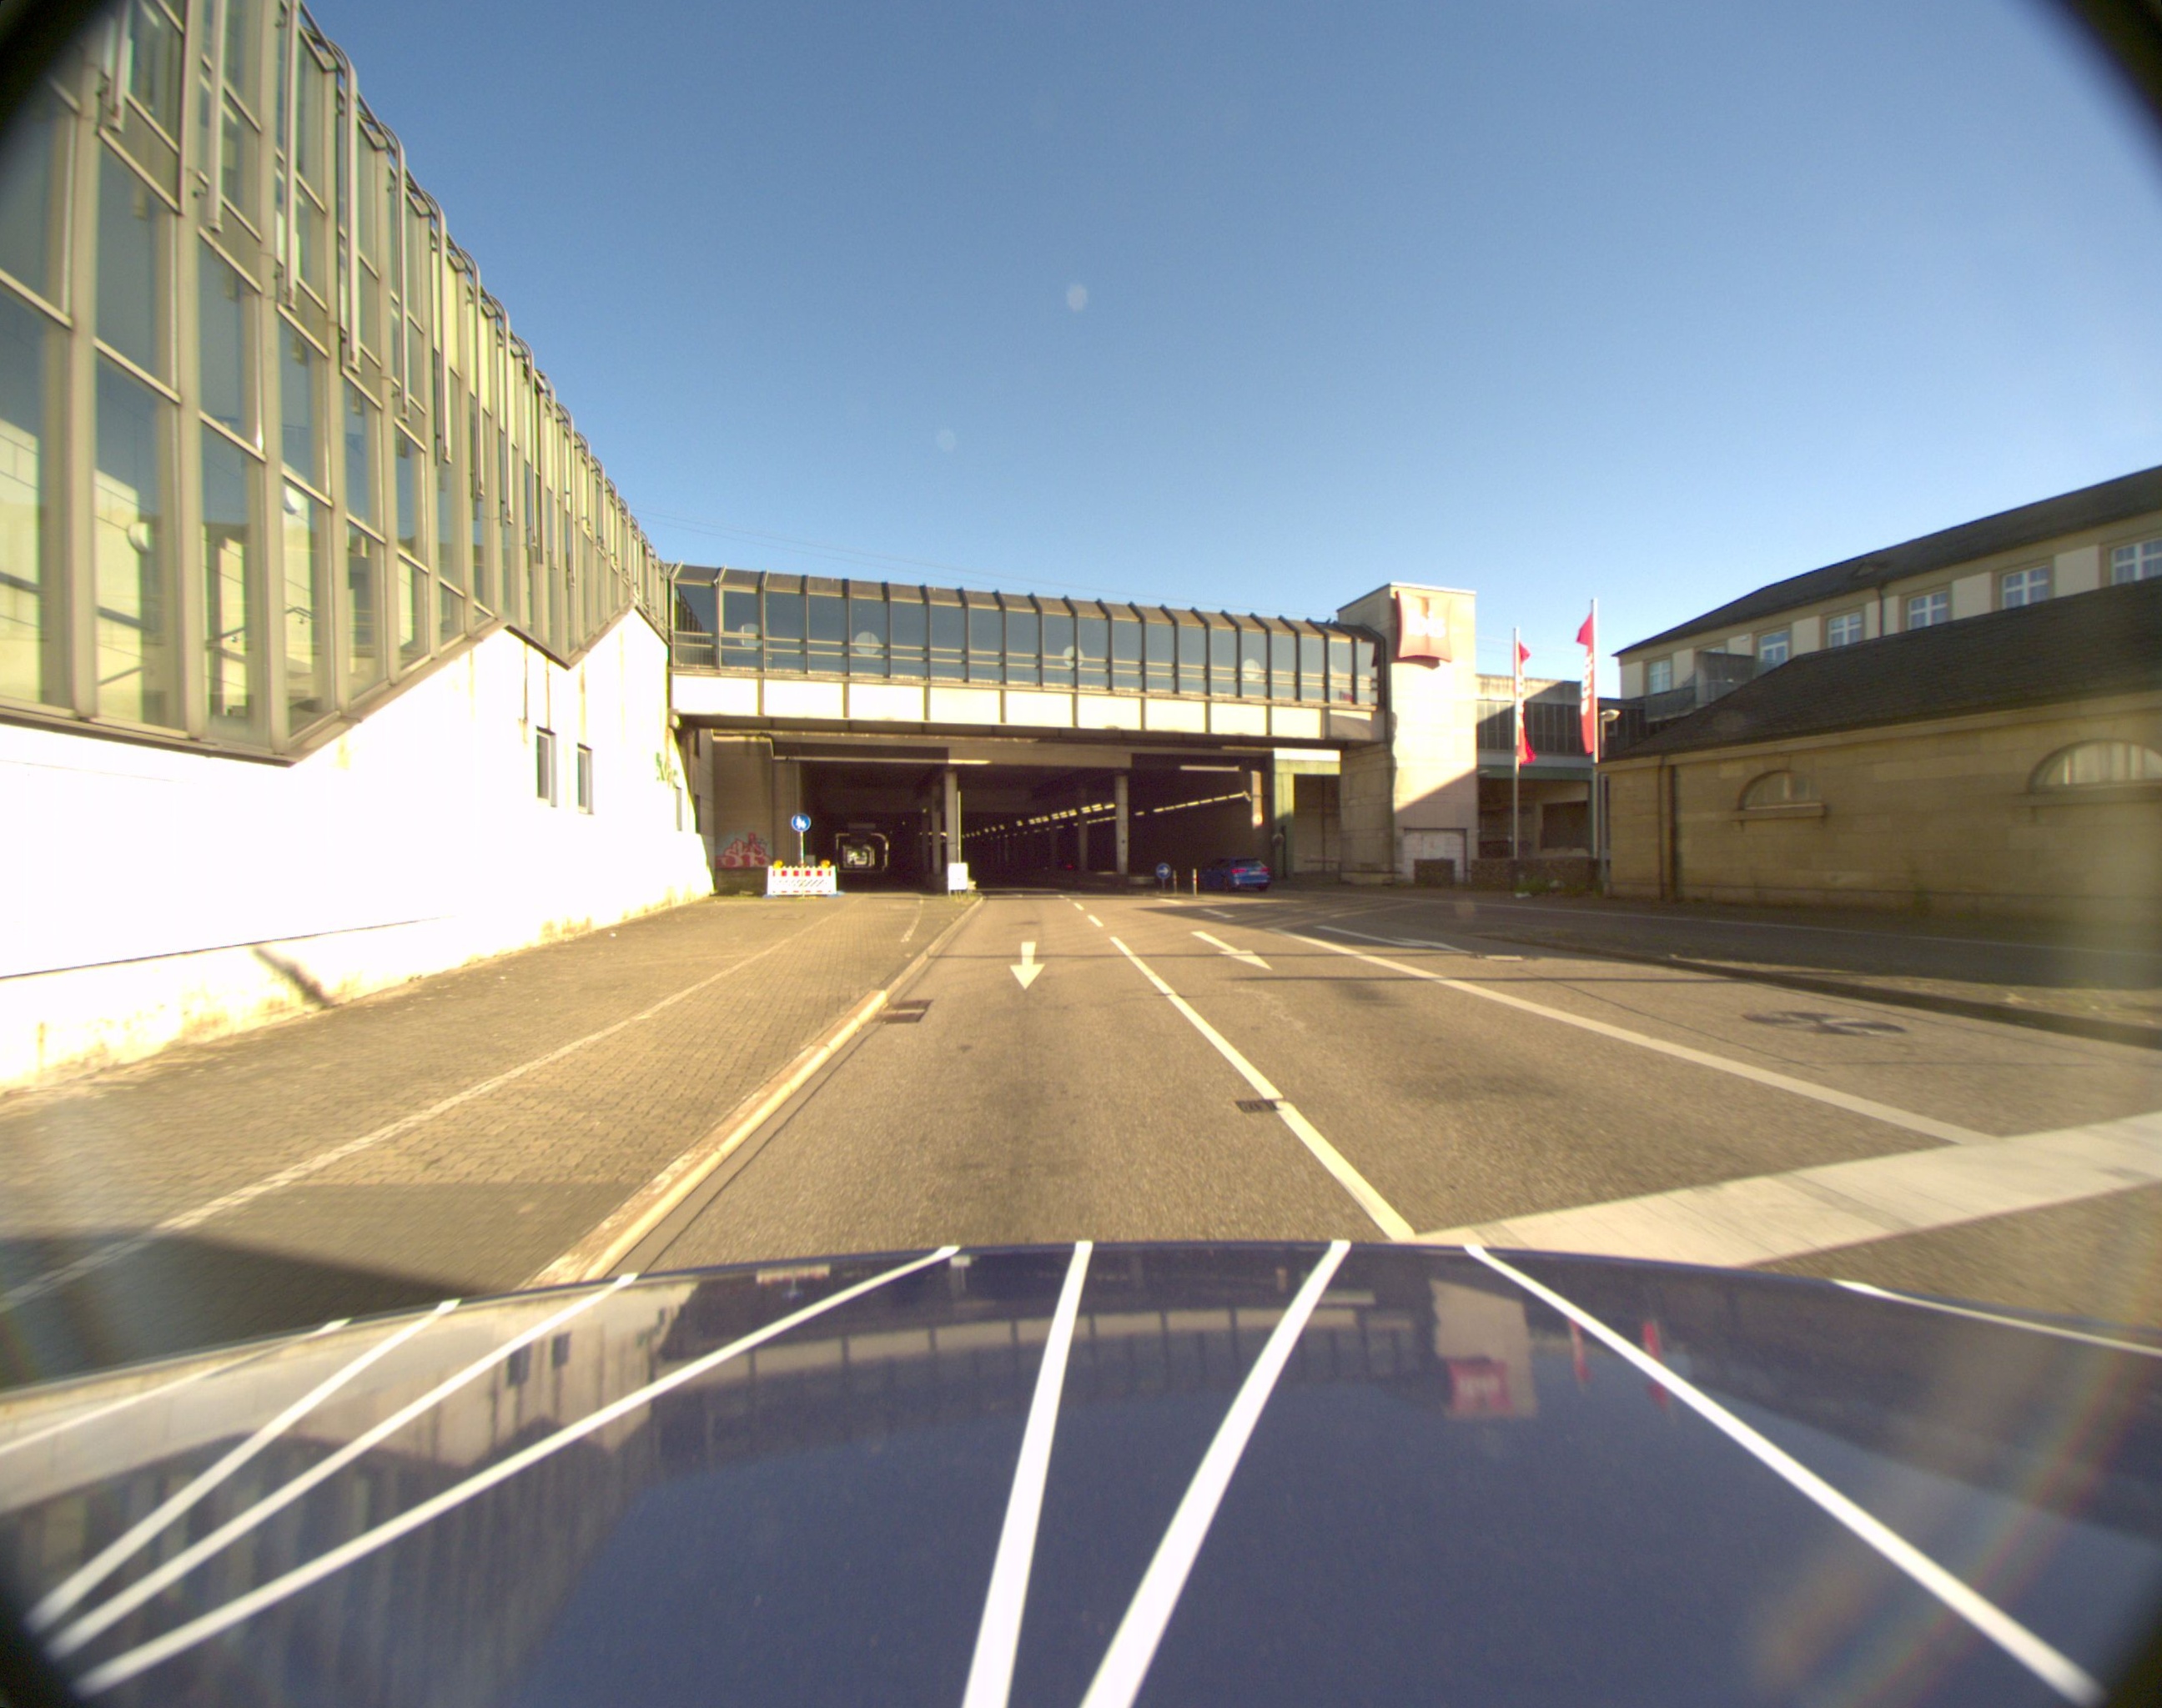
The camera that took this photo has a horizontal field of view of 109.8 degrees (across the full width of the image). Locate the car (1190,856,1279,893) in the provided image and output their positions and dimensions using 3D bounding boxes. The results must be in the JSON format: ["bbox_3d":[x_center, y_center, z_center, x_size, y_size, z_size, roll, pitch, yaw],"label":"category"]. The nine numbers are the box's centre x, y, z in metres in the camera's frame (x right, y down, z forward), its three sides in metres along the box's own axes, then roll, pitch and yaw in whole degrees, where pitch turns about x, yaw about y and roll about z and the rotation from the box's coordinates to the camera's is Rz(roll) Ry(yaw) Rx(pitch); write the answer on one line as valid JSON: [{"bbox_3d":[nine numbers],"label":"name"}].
[{"bbox_3d":[6.230,0.812,31.338,1.817,1.382,4.241,-1,0,-16],"label":"car"}]

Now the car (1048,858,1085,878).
[{"bbox_3d":[-1.121,1.031,56.362,1.759,1.397,4.410,-1,0,-15],"label":"car"}]
